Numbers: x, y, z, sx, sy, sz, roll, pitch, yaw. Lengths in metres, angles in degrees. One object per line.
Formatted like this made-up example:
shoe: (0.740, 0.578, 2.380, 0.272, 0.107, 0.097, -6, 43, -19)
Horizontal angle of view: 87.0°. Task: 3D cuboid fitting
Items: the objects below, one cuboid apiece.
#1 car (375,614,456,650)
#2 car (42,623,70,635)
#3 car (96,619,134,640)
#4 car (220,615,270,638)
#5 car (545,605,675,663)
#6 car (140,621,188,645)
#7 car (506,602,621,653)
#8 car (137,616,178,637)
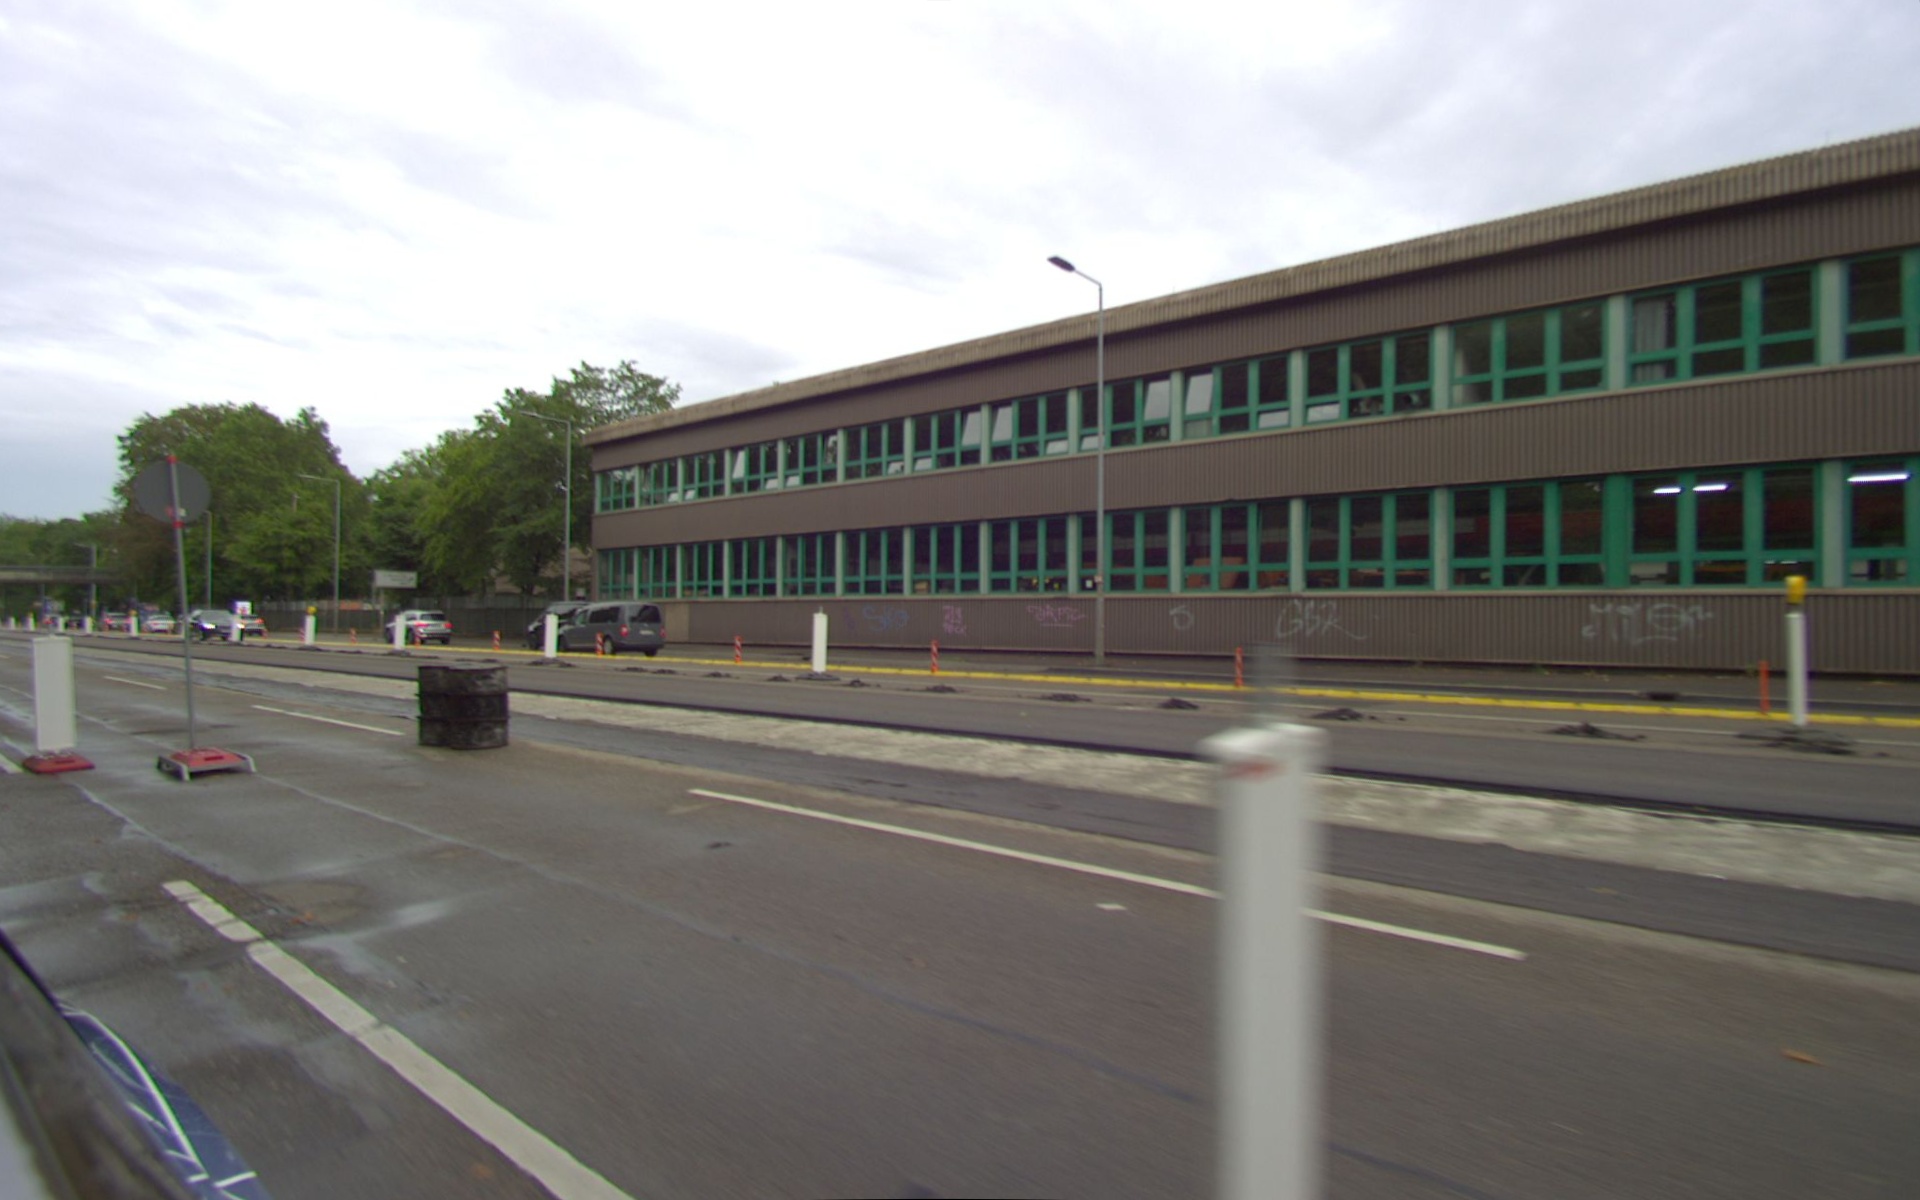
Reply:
car: (-27.474, 1.593, 51.032, 4.931, 1.719, 1.918, -1, 0, 40)
car: (-111.230, 3.550, 124.445, 4.261, 1.440, 1.973, -1, -1, 40)
car: (-73.363, 2.522, 87.865, 4.674, 1.781, 1.967, -1, 0, 42)
car: (-51.329, 1.887, 72.614, 4.176, 1.598, 1.973, -1, 0, 41)
car: (-11.898, 1.102, 34.219, 4.952, 1.794, 1.973, -1, 0, 41)
car: (-54.220, 2.246, 68.928, 4.515, 1.513, 1.873, -1, 0, 43)
car: (-16.053, 1.065, 40.837, 5.359, 1.933, 1.973, -1, 0, 40)
car: (-61.529, 2.029, 77.581, 3.989, 1.546, 1.785, -1, 0, 41)
